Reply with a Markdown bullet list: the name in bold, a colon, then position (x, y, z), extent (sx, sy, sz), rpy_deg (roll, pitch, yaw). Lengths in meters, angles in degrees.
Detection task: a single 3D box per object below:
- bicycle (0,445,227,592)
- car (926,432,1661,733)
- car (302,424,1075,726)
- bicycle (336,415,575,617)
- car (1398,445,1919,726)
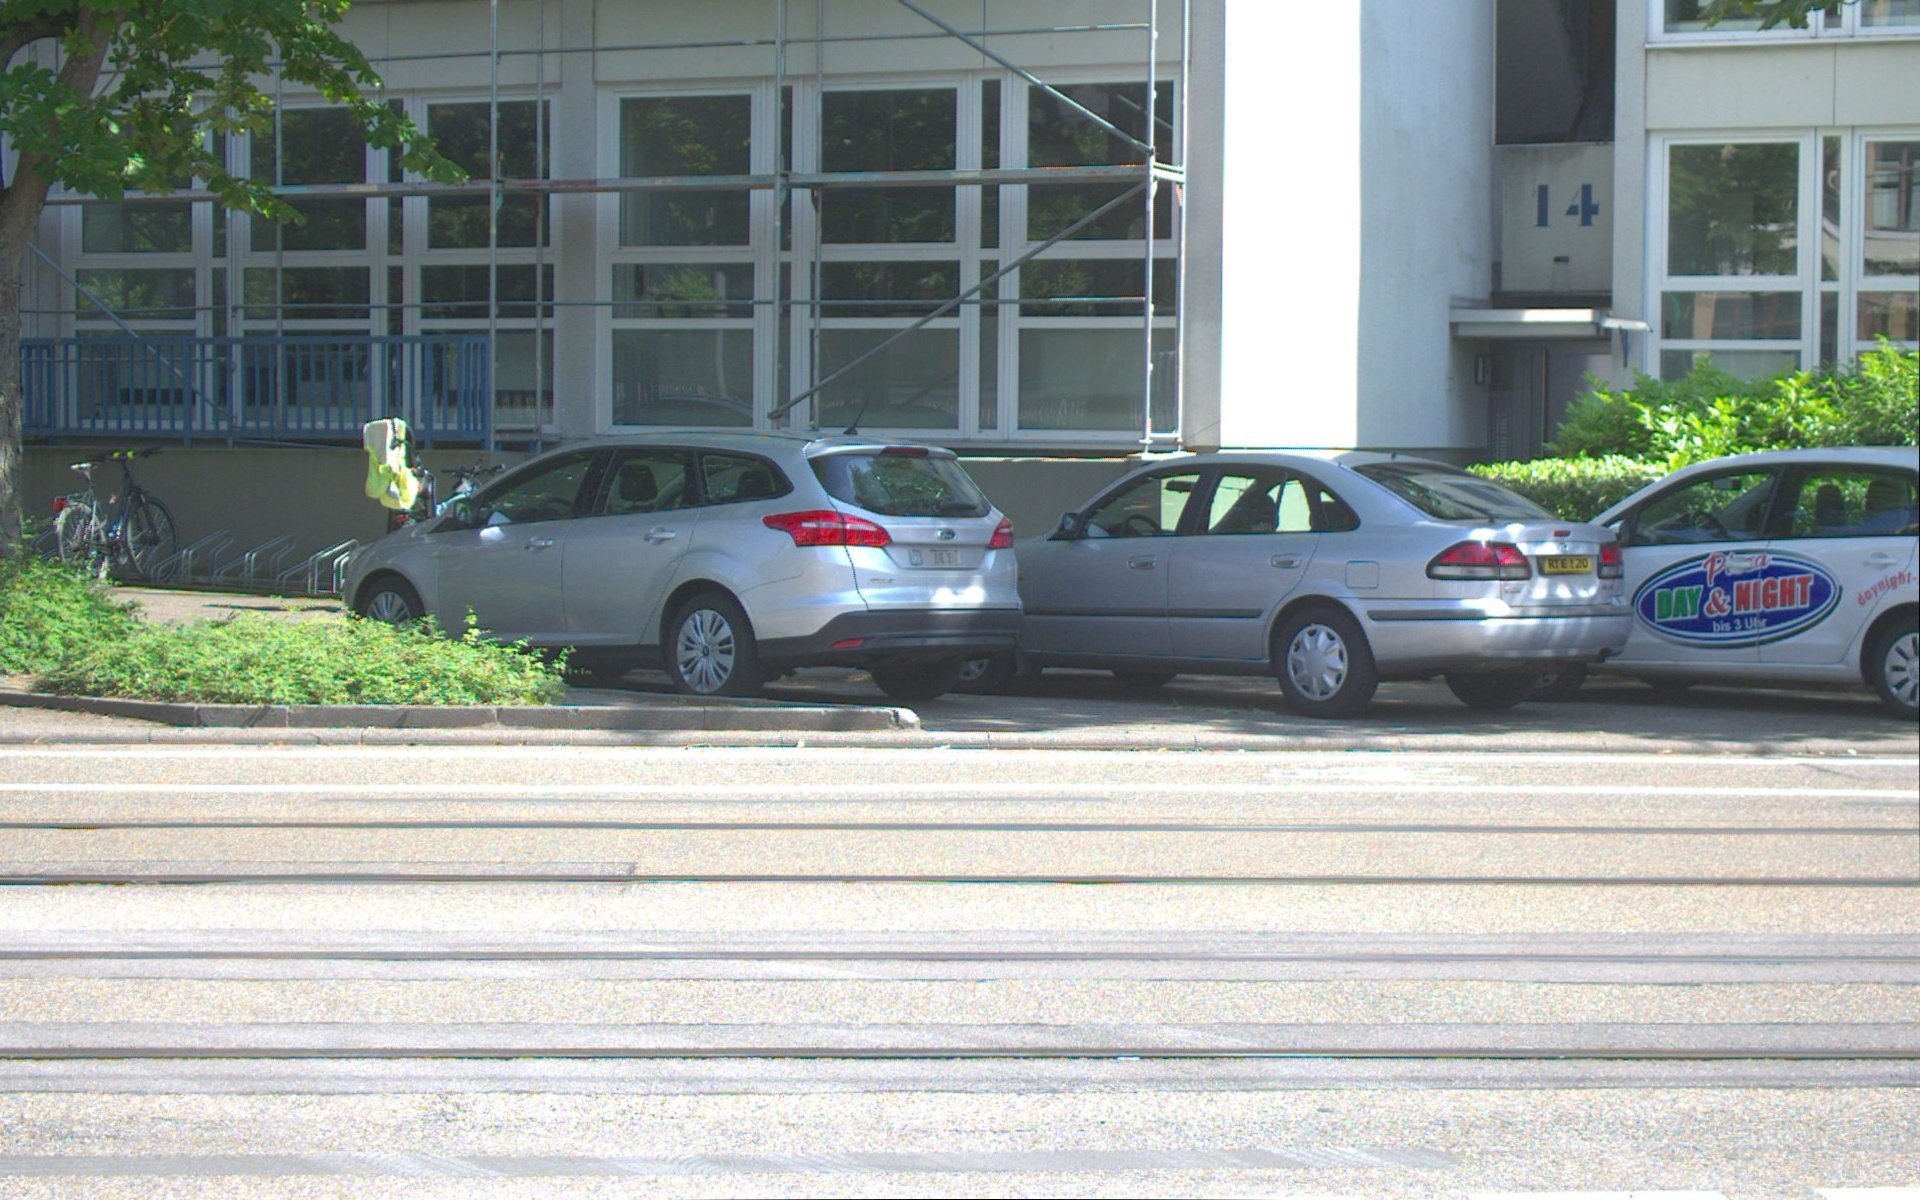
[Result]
- **bicycle**: position (-6.545, -0.659, 26.682), extent (0.741, 1.082, 2.202), rpy_deg (1, 3, 15)
- **car**: position (1.783, -0.174, 19.299), extent (3.943, 1.481, 1.609), rpy_deg (3, 4, 44)
- **car**: position (-1.631, -0.226, 19.426), extent (4.432, 1.481, 1.780), rpy_deg (3, 4, 42)
- **bicycle**: position (-3.771, -0.655, 25.884), extent (0.662, 1.448, 2.087), rpy_deg (2, 3, 28)
- **car**: position (4.592, -0.134, 19.664), extent (3.942, 1.481, 1.609), rpy_deg (2, 3, 43)
